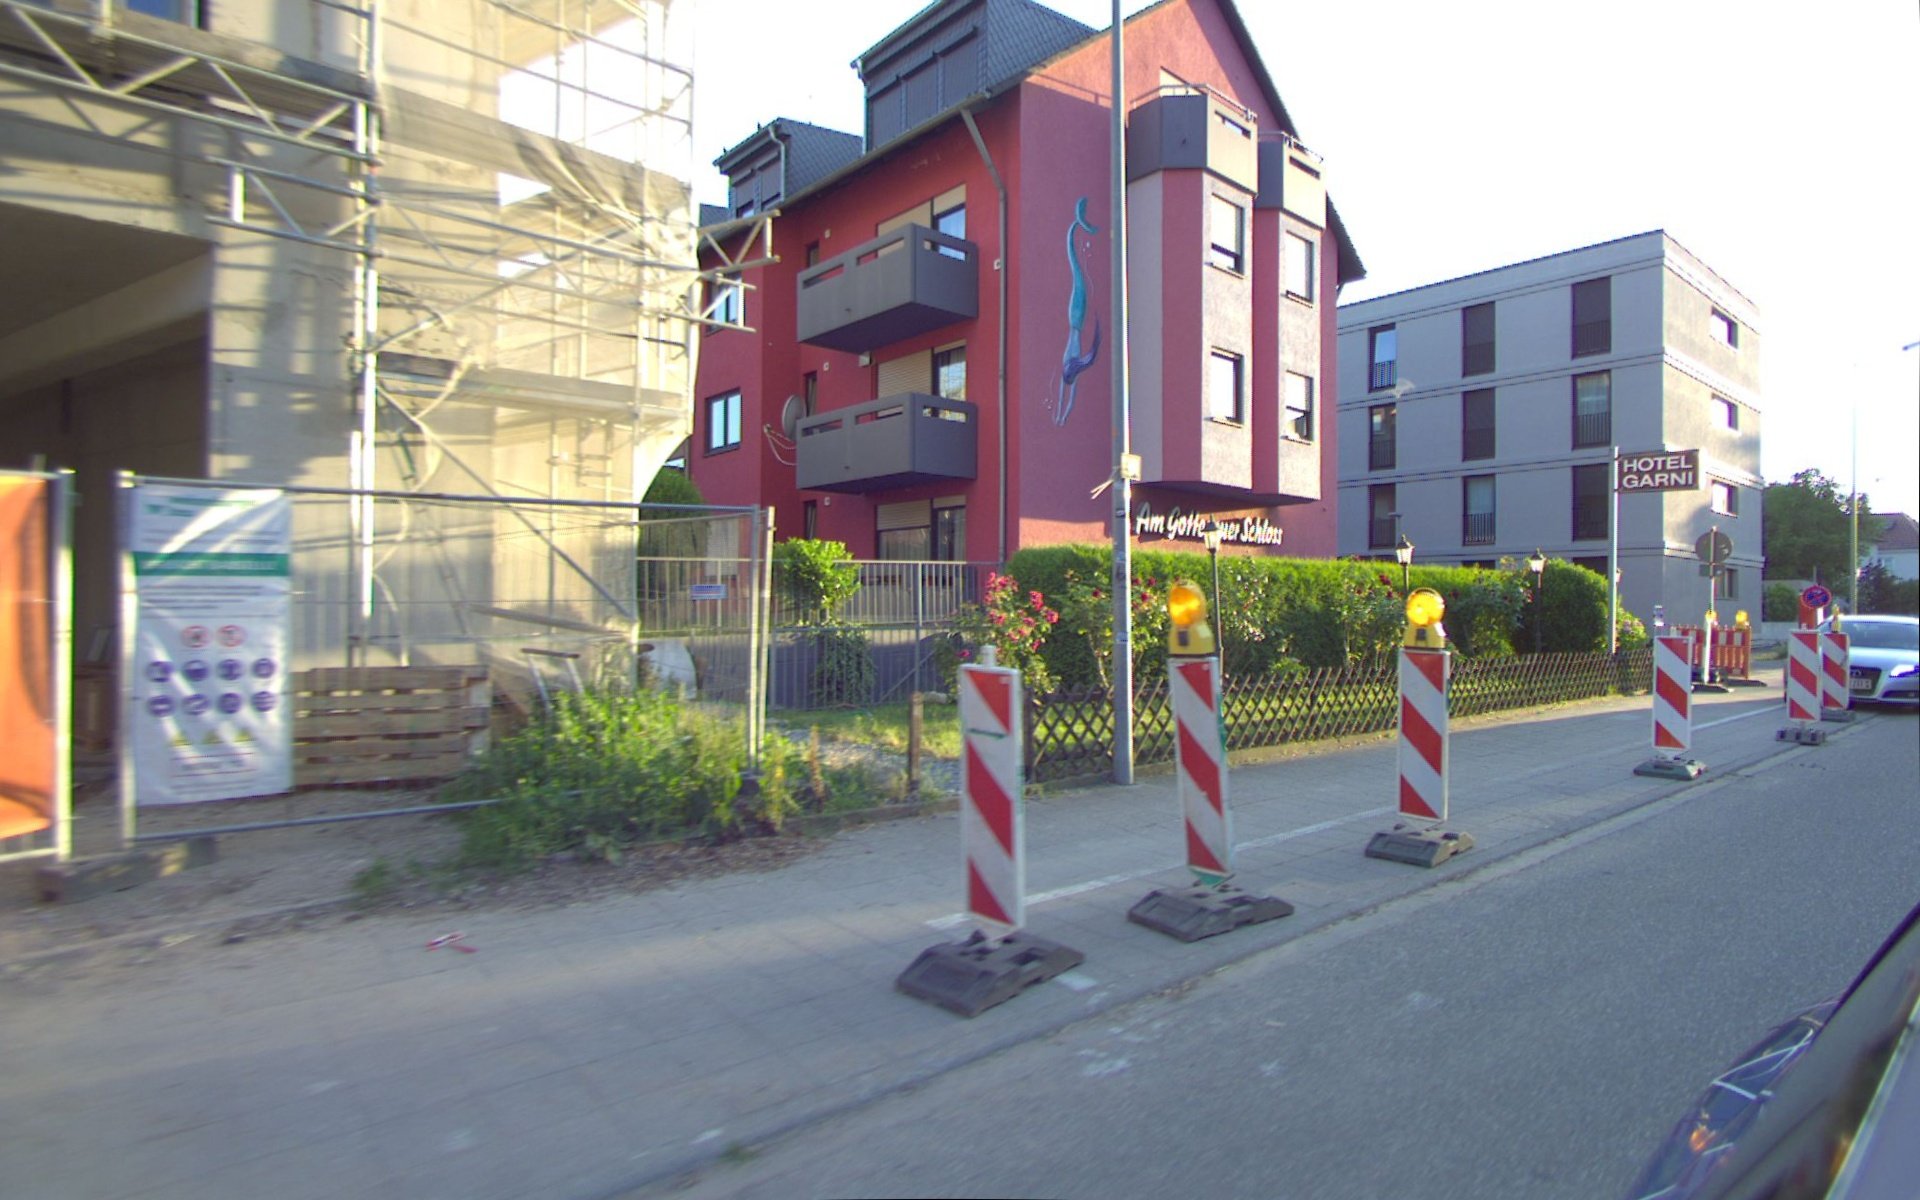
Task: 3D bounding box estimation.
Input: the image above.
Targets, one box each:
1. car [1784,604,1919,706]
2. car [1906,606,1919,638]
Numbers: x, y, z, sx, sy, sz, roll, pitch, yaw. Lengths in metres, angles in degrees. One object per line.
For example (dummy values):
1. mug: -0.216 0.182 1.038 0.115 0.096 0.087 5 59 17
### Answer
1. car: 14.620 0.794 15.974 4.034 1.414 1.779 1 -1 -40
2. car: 44.806 1.044 44.247 1.738 1.415 4.830 1 0 -38
